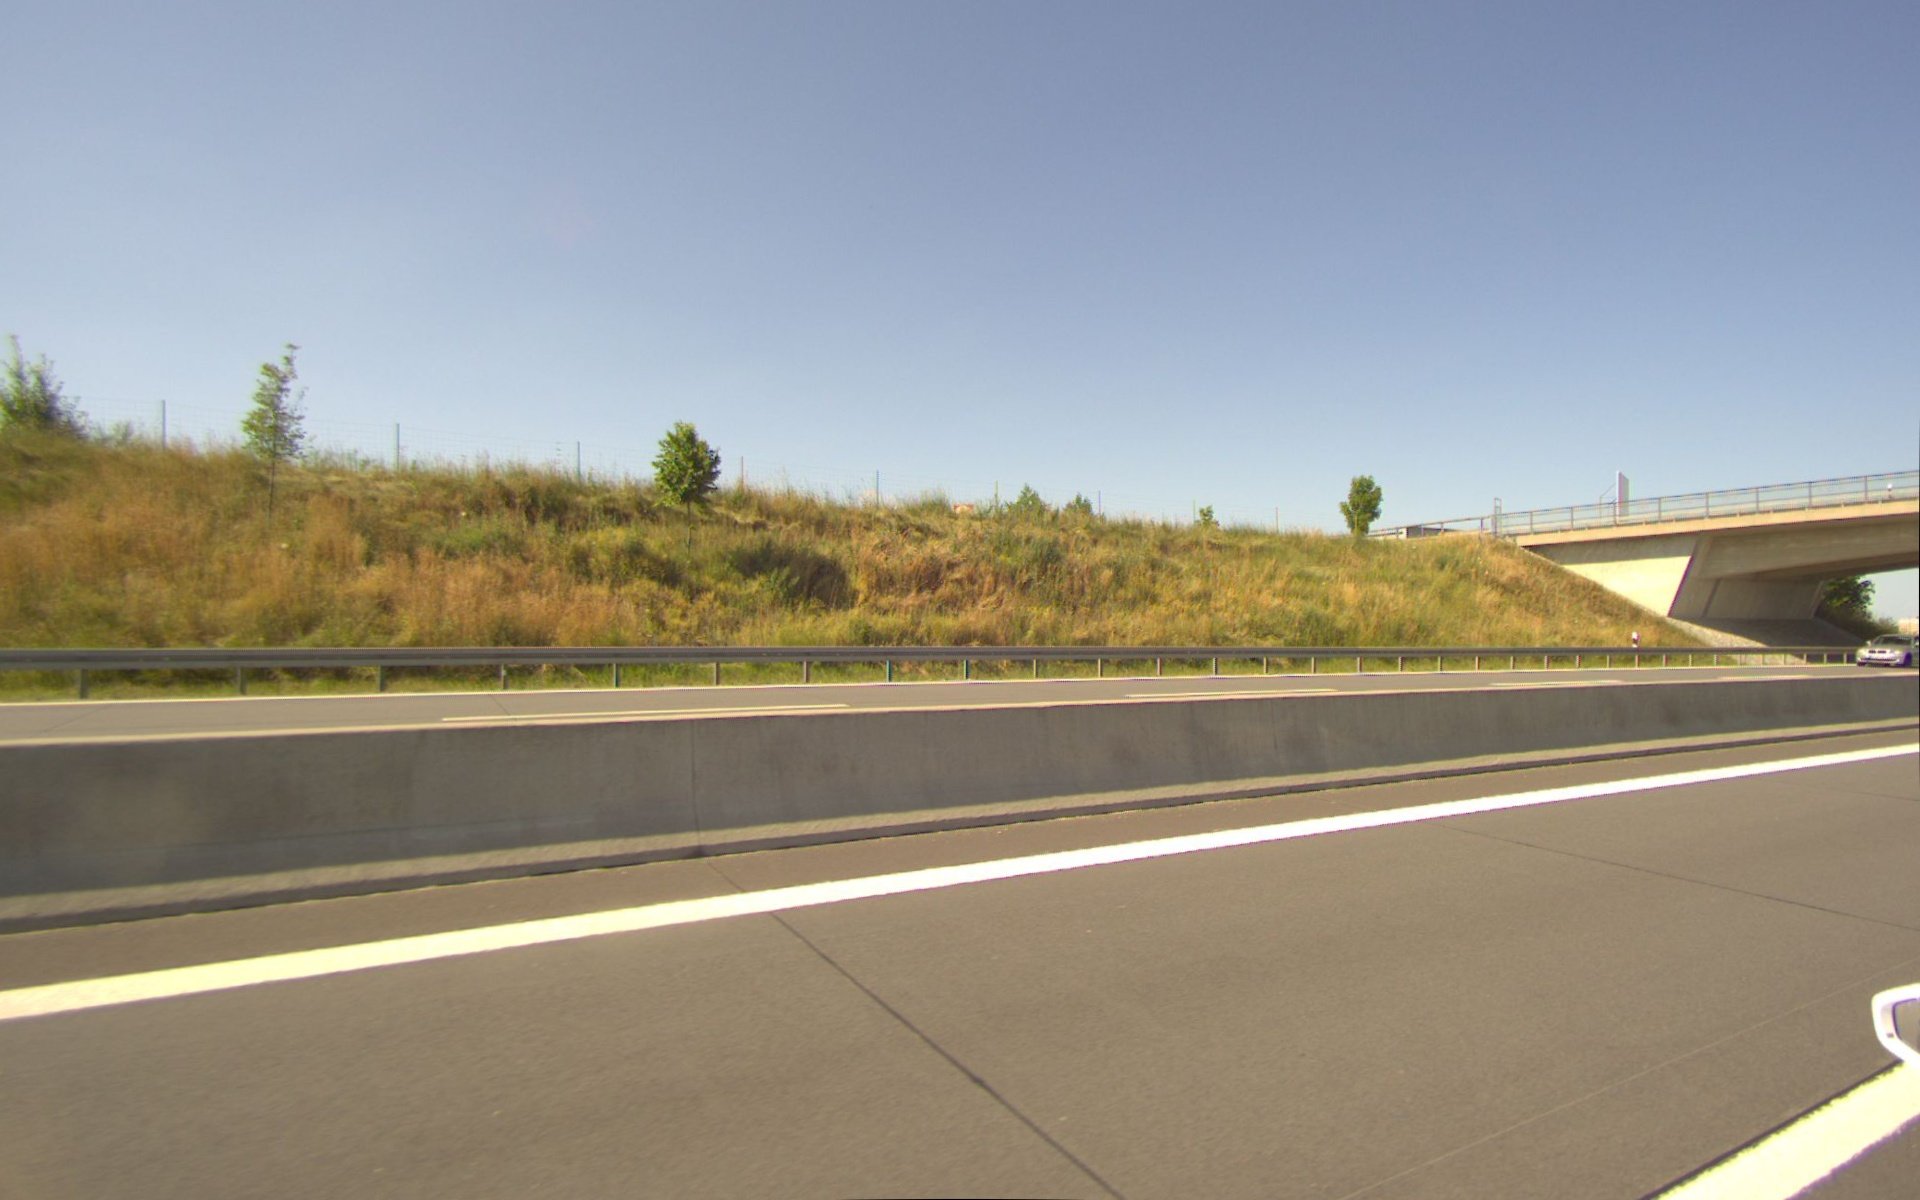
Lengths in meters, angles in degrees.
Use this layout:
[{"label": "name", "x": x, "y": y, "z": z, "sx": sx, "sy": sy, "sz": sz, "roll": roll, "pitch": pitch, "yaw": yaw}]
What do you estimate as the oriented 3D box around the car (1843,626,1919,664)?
[{"label": "car", "x": 40.783, "y": 1.946, "z": 44.052, "sx": 4.516, "sy": 1.551, "sz": 1.852, "roll": 1, "pitch": -1, "yaw": -31}]
